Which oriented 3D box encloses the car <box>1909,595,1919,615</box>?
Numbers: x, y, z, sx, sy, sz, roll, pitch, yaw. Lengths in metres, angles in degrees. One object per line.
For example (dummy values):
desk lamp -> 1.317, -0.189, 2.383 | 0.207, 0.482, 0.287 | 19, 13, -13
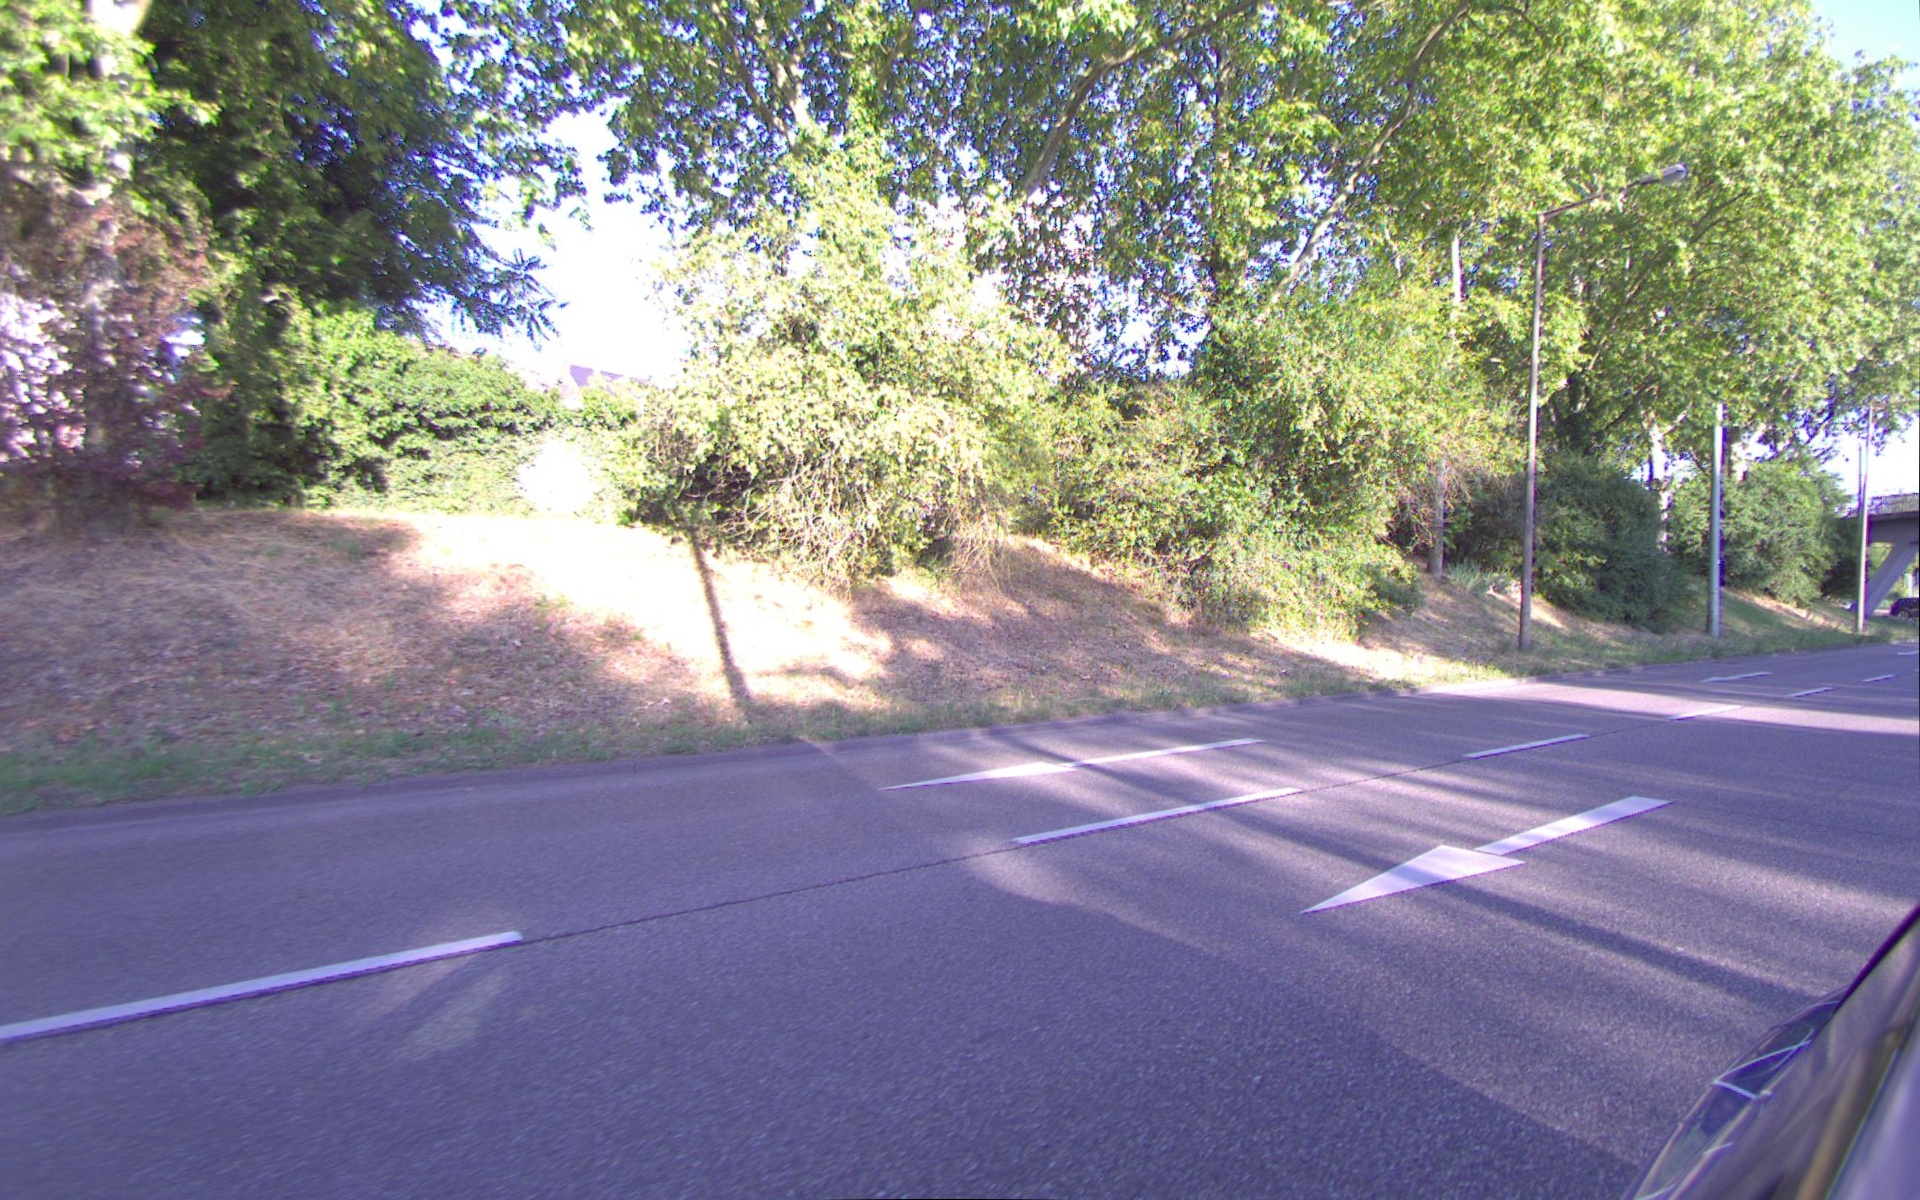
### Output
car -> 68.395, 0.424, 69.701 | 1.682, 1.370, 4.102 | -1, 2, -28
